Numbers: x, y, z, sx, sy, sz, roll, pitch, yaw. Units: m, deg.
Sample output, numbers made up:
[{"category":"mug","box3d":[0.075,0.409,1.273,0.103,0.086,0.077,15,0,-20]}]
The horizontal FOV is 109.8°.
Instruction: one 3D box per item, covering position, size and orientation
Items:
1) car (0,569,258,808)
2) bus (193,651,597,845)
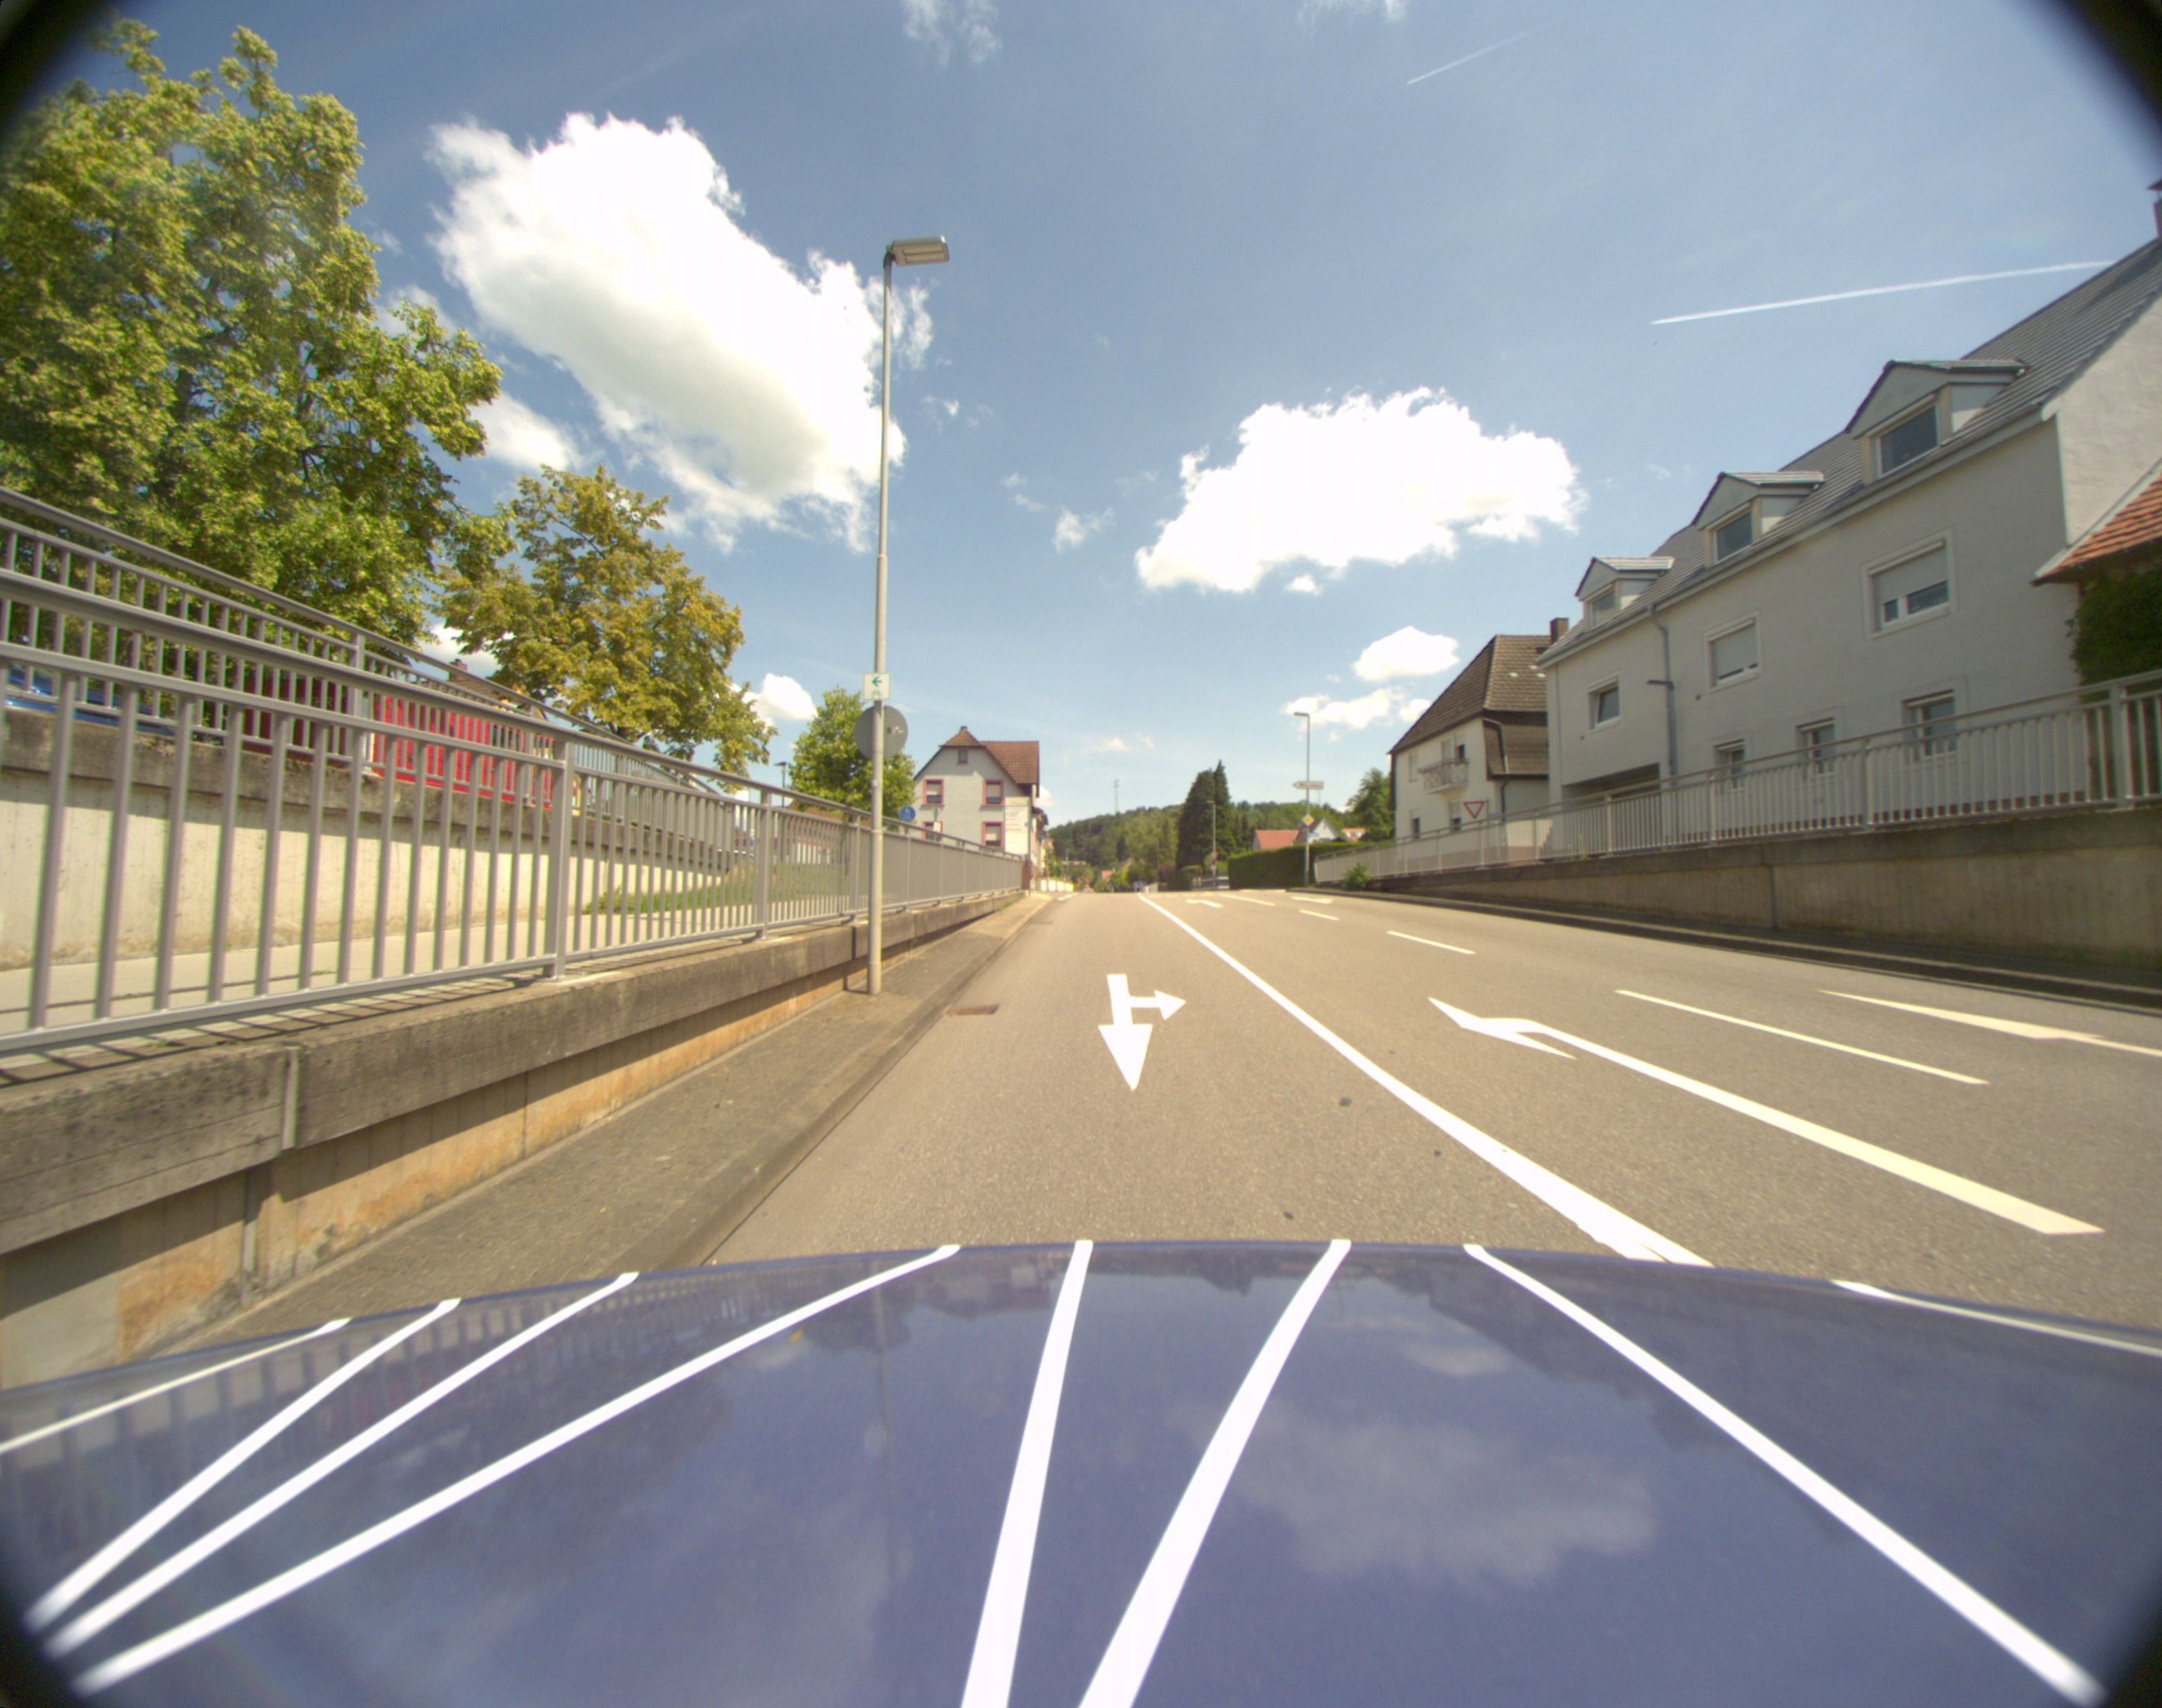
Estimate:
[{"category":"car","box3d":[-10.144,-1.269,6.419,4.000,1.620,1.862,-2,0,-8]},{"category":"bus","box3d":[-11.471,-1.547,13.517,2.194,2.351,5.367,1,-4,0]}]
